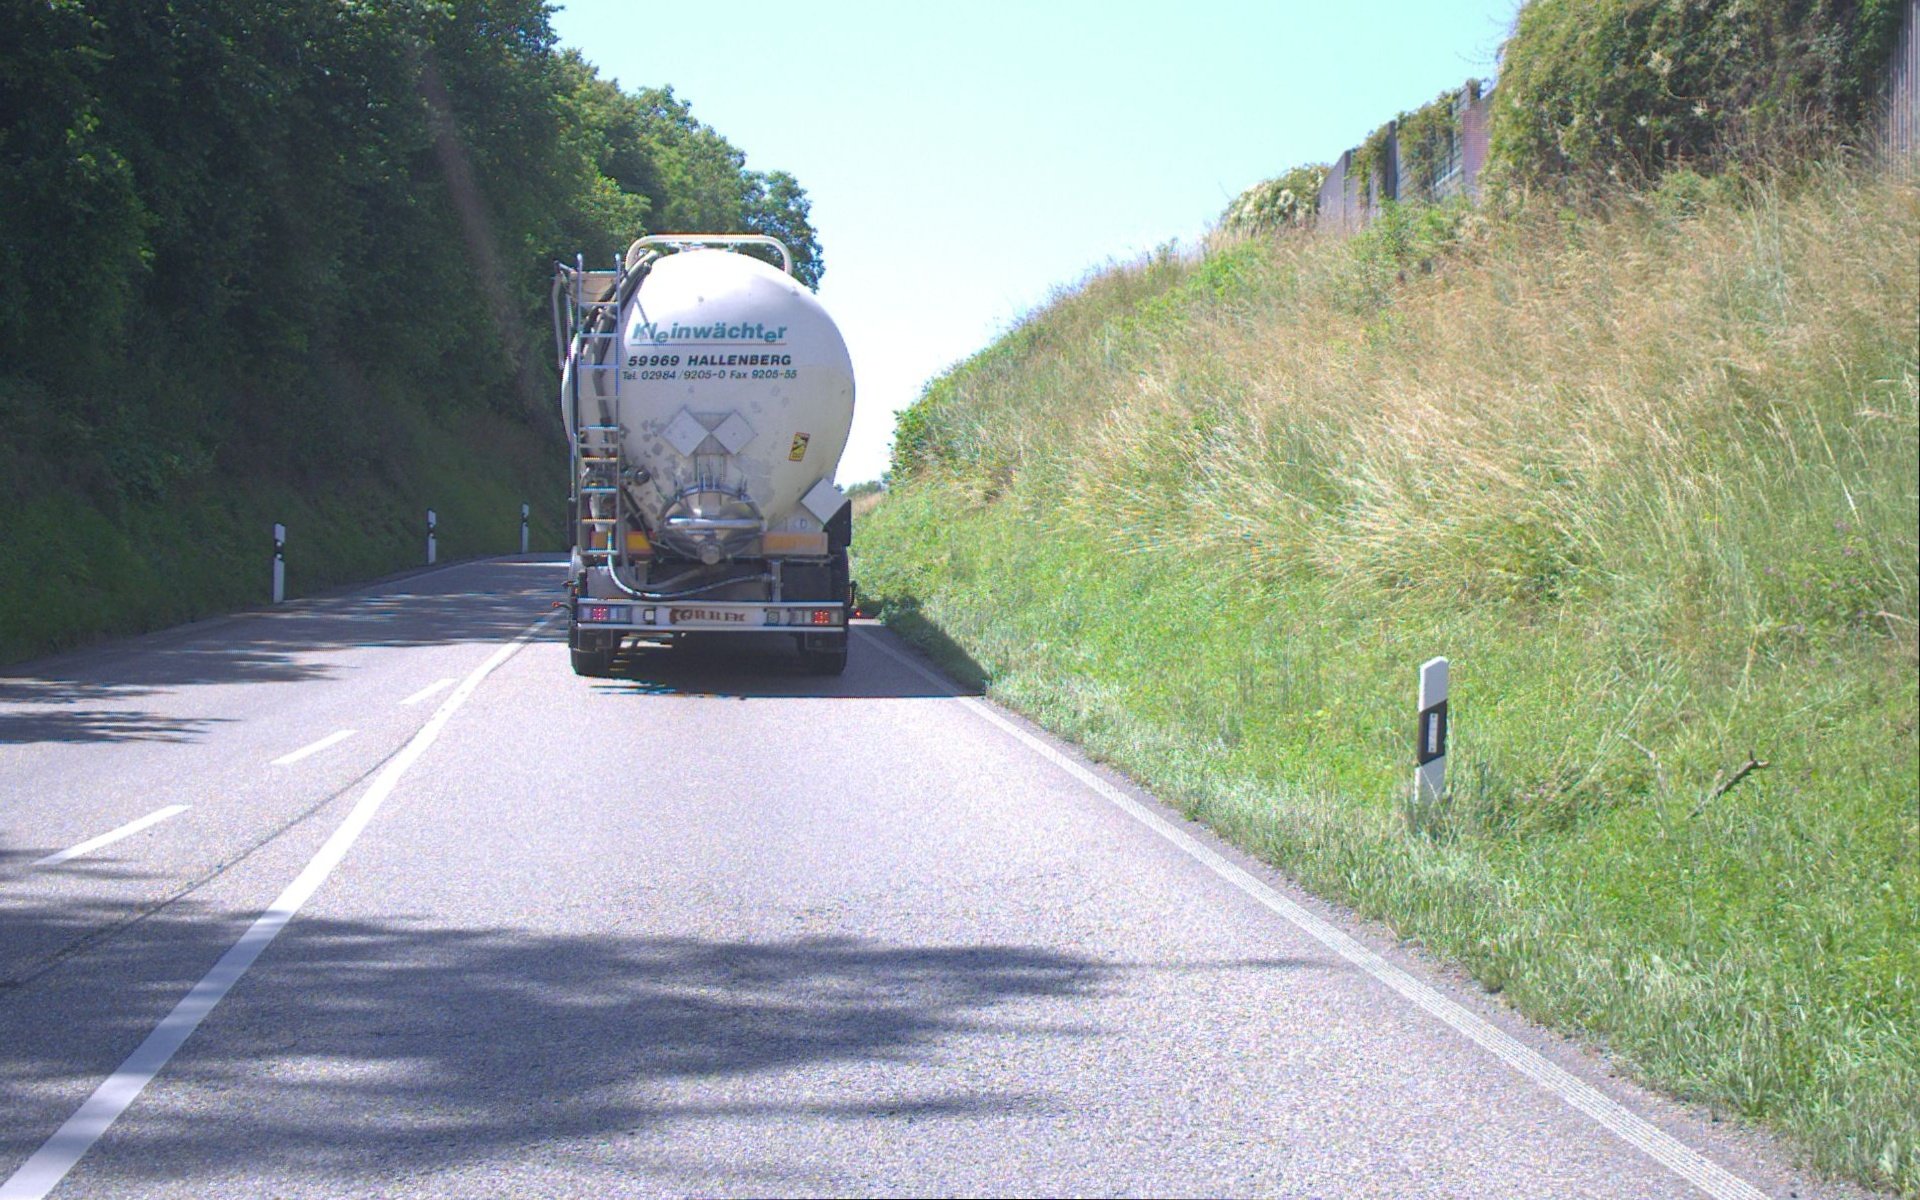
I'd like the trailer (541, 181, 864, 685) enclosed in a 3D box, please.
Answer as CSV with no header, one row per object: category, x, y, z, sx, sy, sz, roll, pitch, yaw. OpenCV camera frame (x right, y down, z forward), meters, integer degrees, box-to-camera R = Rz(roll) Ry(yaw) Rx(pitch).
trailer,-2.434,-1.593,34.625,2.661,4.174,11.906,0,2,-3

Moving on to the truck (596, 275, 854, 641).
truck,-2.638,-1.650,40.626,2.727,3.916,7.264,0,2,-2

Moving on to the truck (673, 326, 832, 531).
truck,-4.787,-3.956,81.518,3.190,4.294,11.802,4,2,-2
